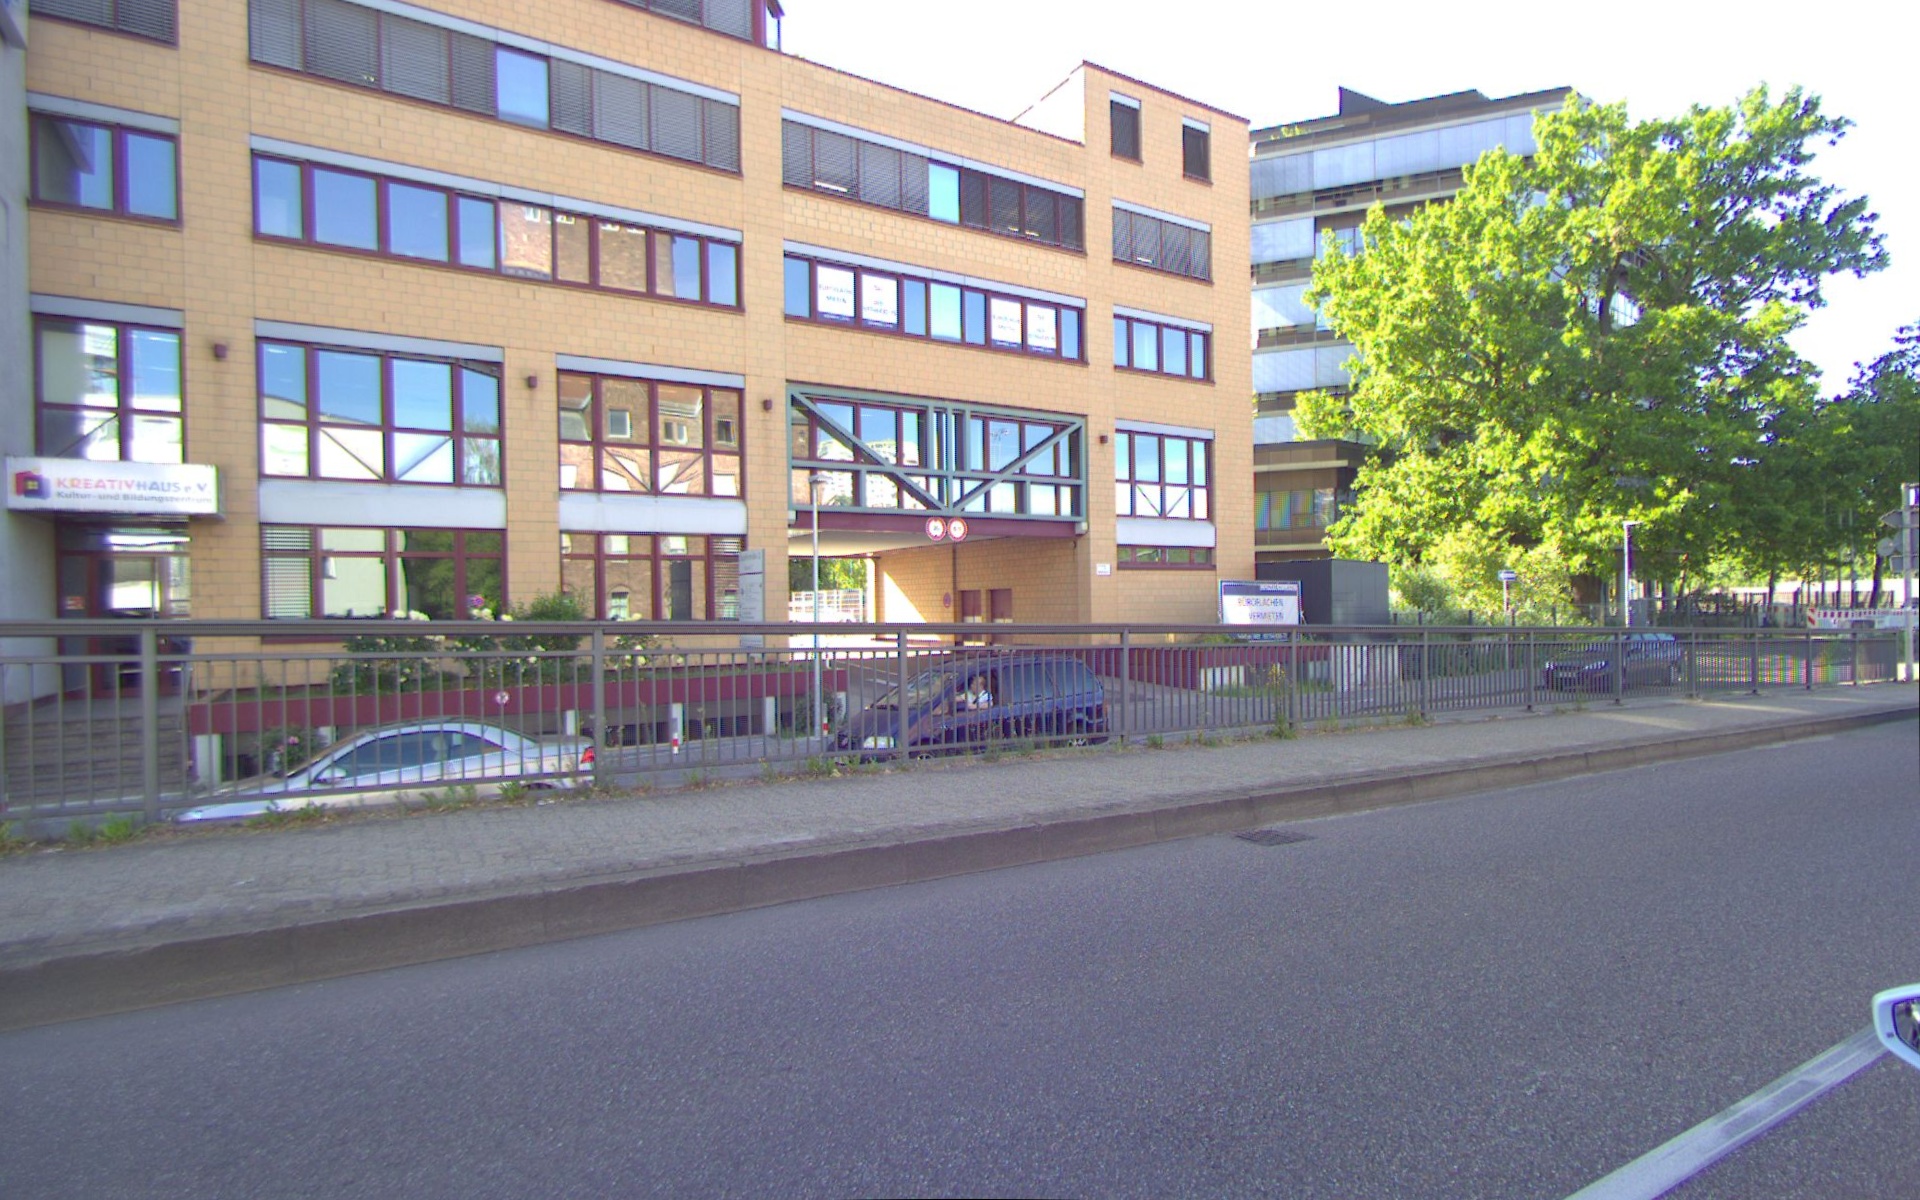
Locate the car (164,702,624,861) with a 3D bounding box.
[{"bbox_3d":[-6.141,1.899,11.304,4.210,1.181,1.713,0,-2,-32],"label":"car"}]

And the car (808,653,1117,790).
[{"bbox_3d":[0.128,1.699,15.212,4.541,1.669,1.710,0,-2,-35],"label":"car"}]

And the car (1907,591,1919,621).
[{"bbox_3d":[58.807,0.326,58.957,1.886,1.818,4.900,-1,-1,3],"label":"car"}]

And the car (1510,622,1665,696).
[{"bbox_3d":[16.429,1.472,26.270,3.953,1.715,1.843,-1,0,-30],"label":"car"}]

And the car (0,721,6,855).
[{"bbox_3d":[-10.652,1.818,8.279,3.766,1.286,1.567,0,-2,-32],"label":"car"}]
